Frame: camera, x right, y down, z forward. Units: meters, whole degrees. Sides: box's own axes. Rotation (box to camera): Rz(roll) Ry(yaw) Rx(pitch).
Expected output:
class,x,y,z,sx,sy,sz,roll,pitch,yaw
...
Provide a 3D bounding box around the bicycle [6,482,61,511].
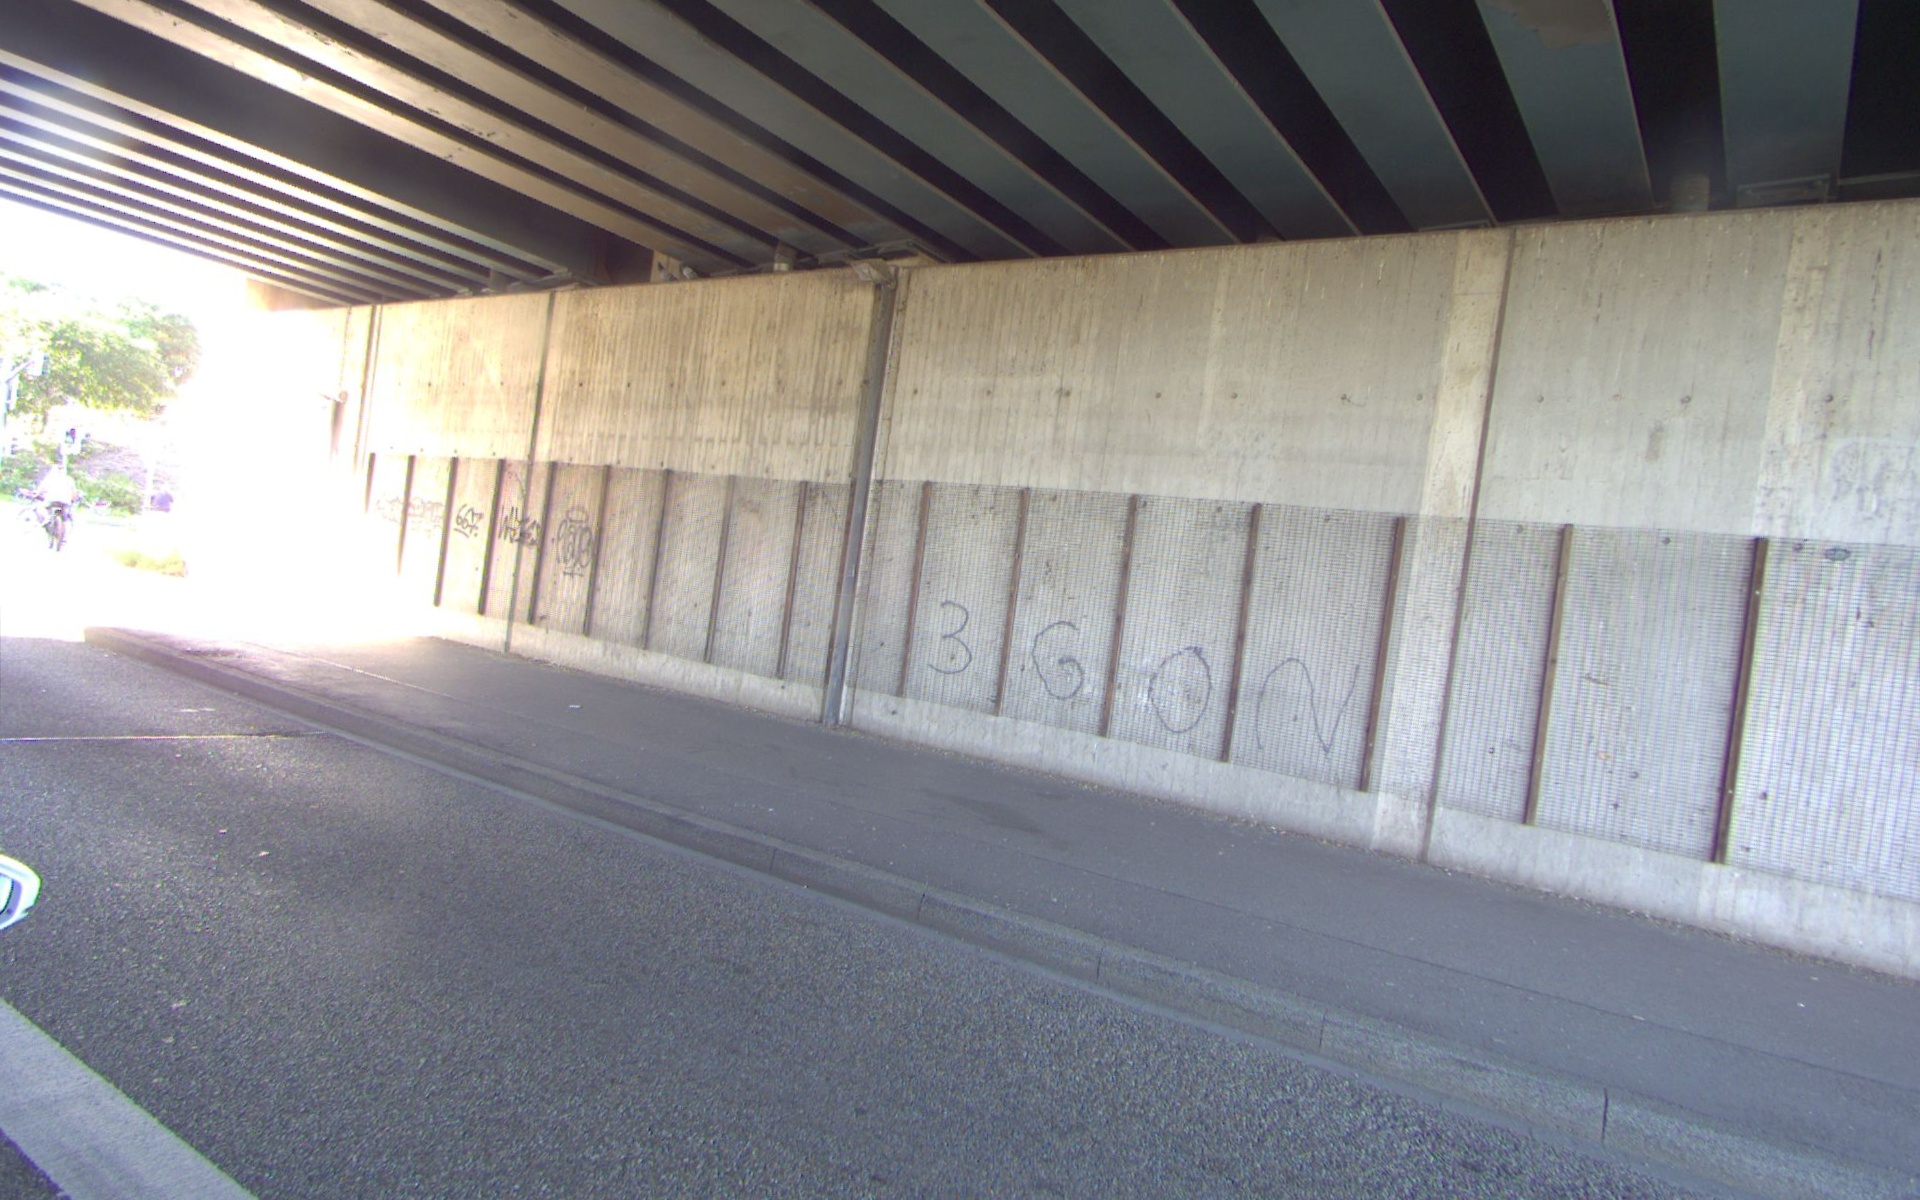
class,x,y,z,sx,sy,sz,roll,pitch,yaw
bicycle,-43.028,-4.810,46.753,0.585,1.035,1.744,6,-2,40

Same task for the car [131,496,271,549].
class,x,y,z,sx,sy,sz,roll,pitch,yaw
car,-33.318,-3.379,44.276,1.801,1.531,4.548,6,-3,39

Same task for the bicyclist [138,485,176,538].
class,x,y,z,sx,sy,sz,roll,pitch,yaw
bicyclist,-24.699,-2.724,30.941,0.609,1.499,0.649,8,0,40

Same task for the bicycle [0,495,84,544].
class,x,y,z,sx,sy,sz,roll,pitch,yaw
bicycle,-24.714,-2.159,27.070,2.016,1.035,0.674,7,-1,17

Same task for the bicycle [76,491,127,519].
class,x,y,z,sx,sy,sz,roll,pitch,yaw
bicycle,-40.952,-4.523,47.998,0.586,1.035,1.743,6,-2,43

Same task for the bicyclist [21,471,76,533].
class,x,y,z,sx,sy,sz,roll,pitch,yaw
bicyclist,-24.478,-2.633,27.018,0.737,1.491,0.667,7,-1,17

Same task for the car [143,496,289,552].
class,x,y,z,sx,sy,sz,roll,pitch,yaw
car,-31.330,-3.185,42.498,1.801,1.531,4.548,6,-3,39

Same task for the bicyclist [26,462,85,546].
class,x,y,z,sx,sy,sz,roll,pitch,yaw
bicyclist,-18.264,-1.942,20.322,0.757,1.566,0.592,6,-1,36

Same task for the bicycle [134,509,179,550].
class,x,y,z,sx,sy,sz,roll,pitch,yaw
bicycle,-24.667,-2.170,30.877,1.724,1.036,0.667,10,1,40

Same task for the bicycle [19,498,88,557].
class,x,y,z,sx,sy,sz,roll,pitch,yaw
bicycle,-18.326,-1.470,20.330,1.723,1.035,0.592,6,-2,36
